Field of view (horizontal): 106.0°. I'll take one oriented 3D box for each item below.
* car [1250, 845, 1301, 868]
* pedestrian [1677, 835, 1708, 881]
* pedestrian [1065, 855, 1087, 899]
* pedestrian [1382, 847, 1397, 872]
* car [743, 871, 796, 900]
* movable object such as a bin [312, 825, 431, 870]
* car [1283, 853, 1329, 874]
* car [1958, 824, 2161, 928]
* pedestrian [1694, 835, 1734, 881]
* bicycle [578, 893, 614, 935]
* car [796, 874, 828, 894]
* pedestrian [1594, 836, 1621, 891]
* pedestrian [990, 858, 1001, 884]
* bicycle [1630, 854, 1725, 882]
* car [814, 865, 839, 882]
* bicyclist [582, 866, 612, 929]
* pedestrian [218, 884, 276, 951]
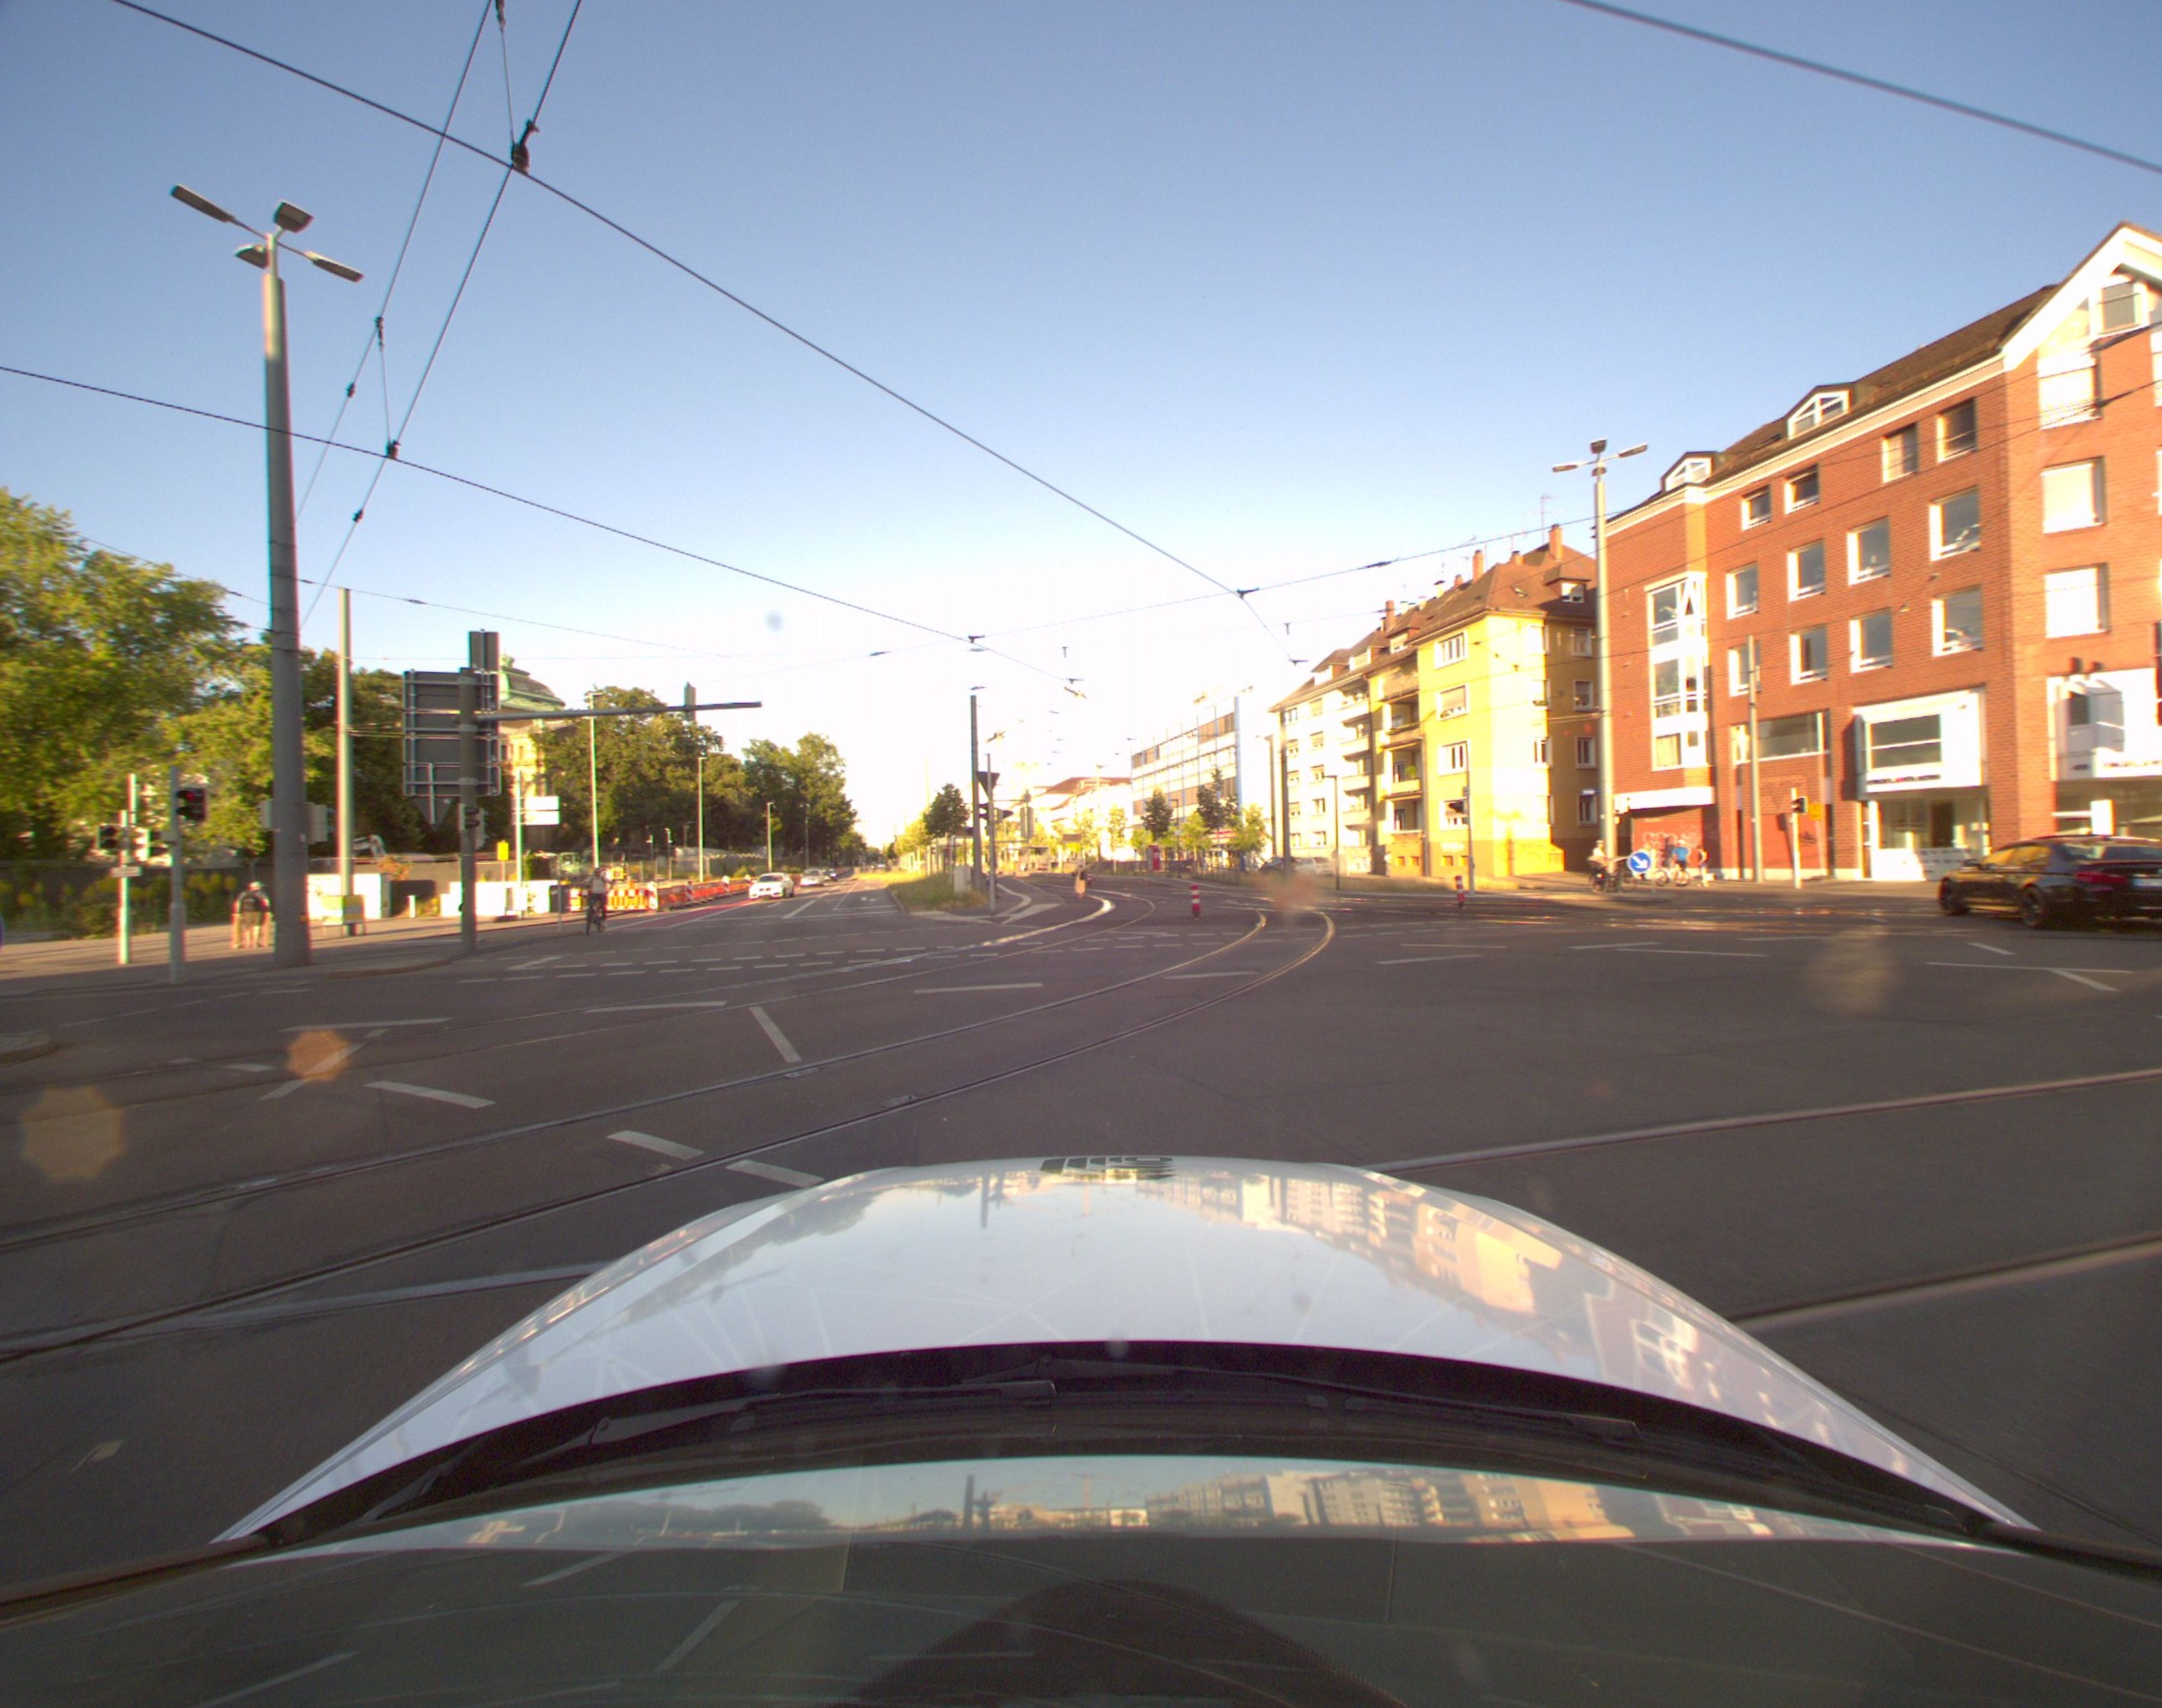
[{"bbox_3d":[15.660,0.231,65.691,2.117,1.705,4.326,-2,0,-16],"label":"car"},{"bbox_3d":[24.507,0.164,32.636,0.815,1.778,0.634,-1,-1,-21],"label":"pedestrian"},{"bbox_3d":[-0.172,0.808,29.264,0.702,1.541,0.637,-2,-1,2],"label":"pedestrian"},{"bbox_3d":[20.298,0.357,53.601,0.704,1.599,0.736,-2,-1,10],"label":"pedestrian"},{"bbox_3d":[-17.160,1.714,45.013,1.911,1.405,4.288,-3,0,-11],"label":"car"},{"bbox_3d":[-35.114,-0.287,40.315,4.969,2.013,2.009,-2,0,16],"label":"movable object such as a bin"},{"bbox_3d":[16.837,0.714,61.057,1.737,1.420,3.524,-1,-2,-16],"label":"car"},{"bbox_3d":[16.633,0.306,13.546,1.823,1.495,4.319,-3,-1,34],"label":"car"},{"bbox_3d":[24.817,0.151,31.928,0.918,1.778,0.867,-1,-1,-21],"label":"pedestrian"},{"bbox_3d":[-13.246,1.613,22.297,0.597,1.023,1.833,-1,0,-24],"label":"bicycle"},{"bbox_3d":[-22.185,2.453,67.330,1.674,1.561,3.717,-4,-1,-7],"label":"car"},{"bbox_3d":[16.453,0.298,25.472,0.418,1.708,0.513,-1,-1,-13],"label":"pedestrian"},{"bbox_3d":[-5.209,1.019,49.454,0.564,1.591,0.688,-2,-1,-11],"label":"pedestrian"},{"bbox_3d":[23.658,0.547,32.408,0.932,1.017,3.043,-1,0,-20],"label":"bicycle"},{"bbox_3d":[-26.813,2.038,86.003,1.939,1.617,4.375,-2,0,-11],"label":"car"},{"bbox_3d":[-13.273,1.178,22.343,0.597,1.671,0.742,-1,-1,-24],"label":"bicyclist"},{"bbox_3d":[-22.719,1.695,22.187,0.811,1.735,0.950,-2,-1,34],"label":"pedestrian"}]
